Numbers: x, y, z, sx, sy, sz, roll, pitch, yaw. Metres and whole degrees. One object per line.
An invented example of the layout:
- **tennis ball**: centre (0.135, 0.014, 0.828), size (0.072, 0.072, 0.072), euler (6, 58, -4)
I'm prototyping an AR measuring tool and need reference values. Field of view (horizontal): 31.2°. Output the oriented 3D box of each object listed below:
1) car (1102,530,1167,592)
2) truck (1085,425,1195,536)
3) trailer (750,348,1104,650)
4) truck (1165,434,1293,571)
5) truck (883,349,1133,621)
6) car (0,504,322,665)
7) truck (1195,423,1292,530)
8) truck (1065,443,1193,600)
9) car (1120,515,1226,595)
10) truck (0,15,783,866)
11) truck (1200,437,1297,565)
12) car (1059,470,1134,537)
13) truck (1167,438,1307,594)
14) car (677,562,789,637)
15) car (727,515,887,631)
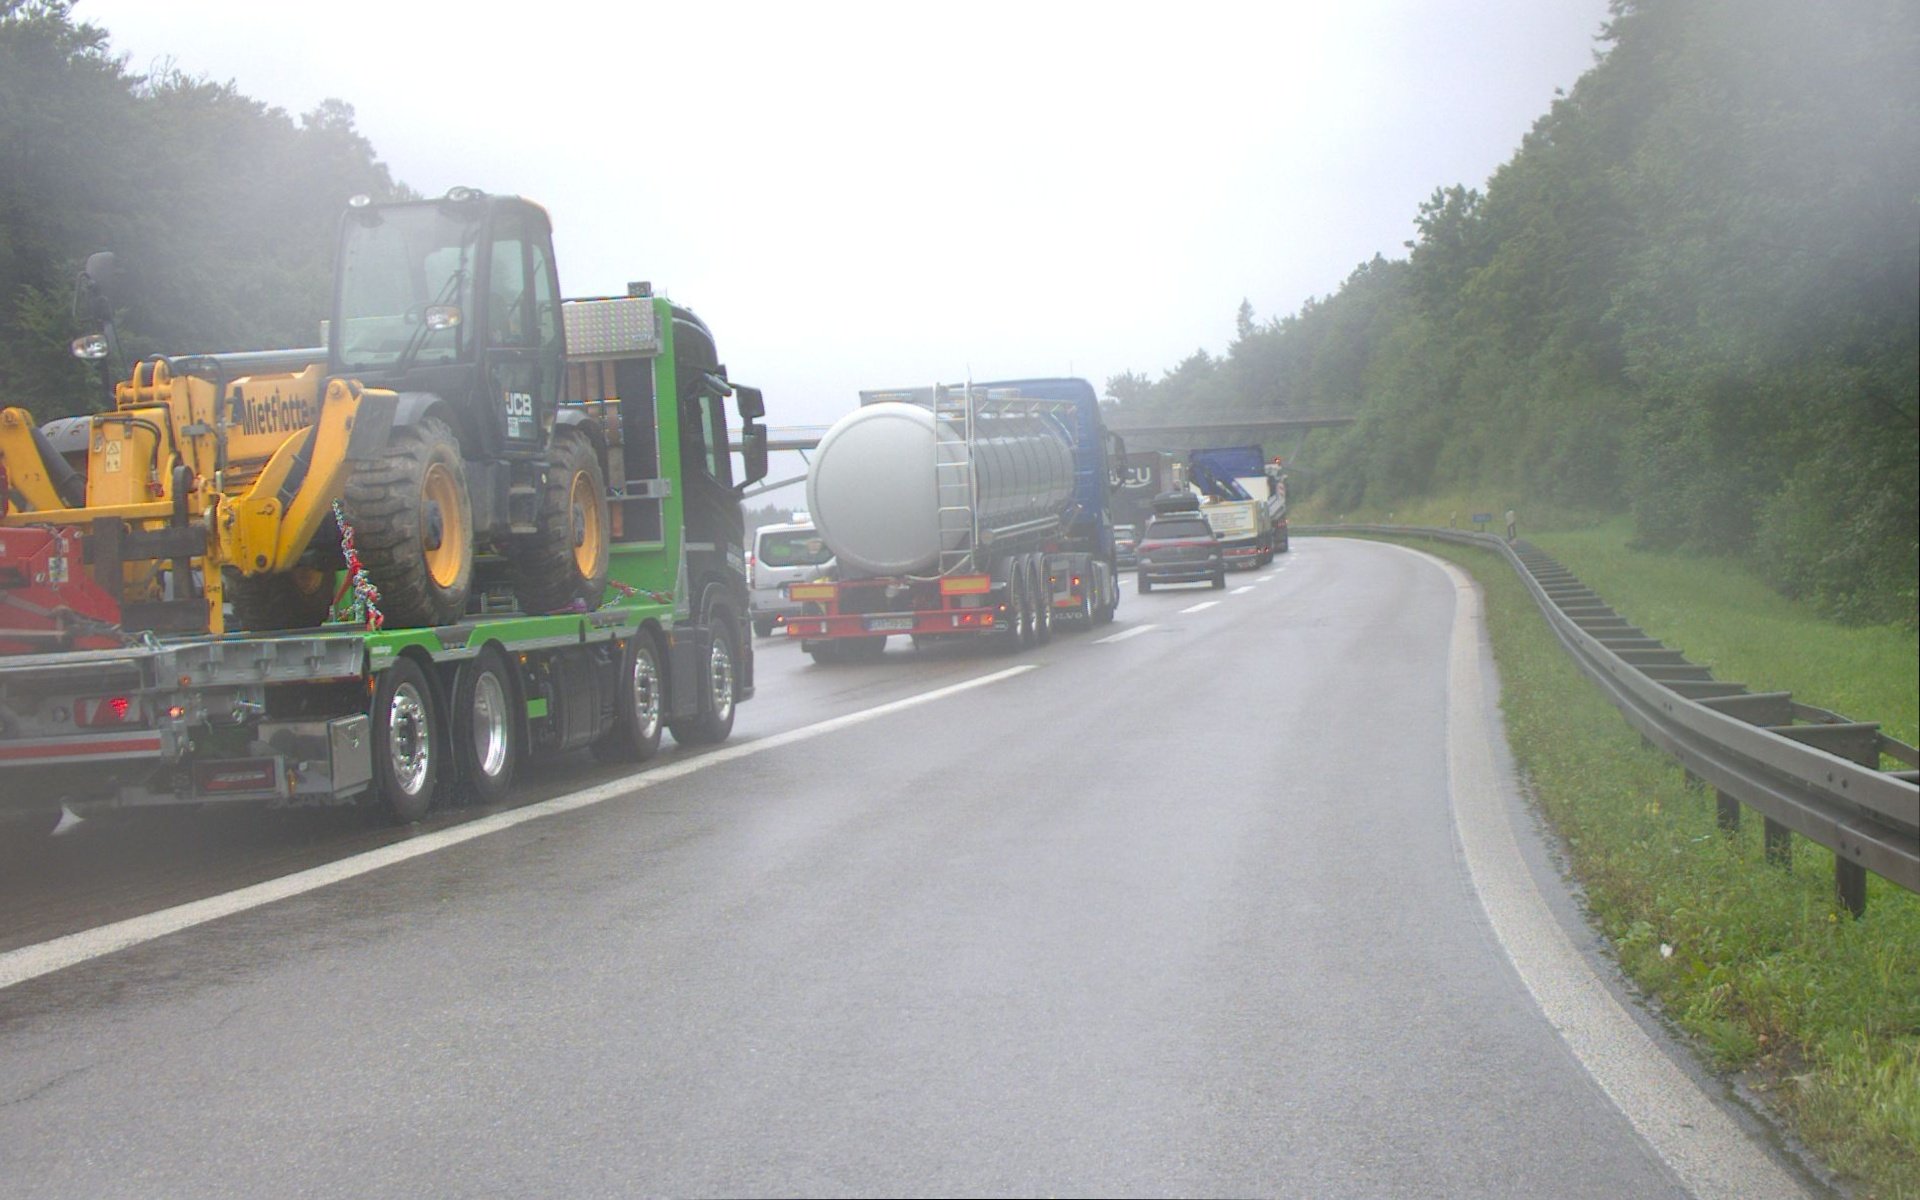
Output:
- **car**: centre (5.561, -1.228, 108.925), size (1.798, 1.897, 3.999), euler (0, 0, 7)
- **truck**: centre (7.586, -4.875, 143.070), size (3.577, 4.081, 10.876), euler (-2, 0, 8)
- **trailer**: centre (-0.172, -1.281, 43.943), size (2.874, 3.277, 10.075), euler (-3, 1, 8)
- **truck**: centre (9.146, -3.167, 115.709), size (3.508, 4.253, 10.599), euler (1, 0, 9)
- **truck**: centre (0.793, -1.675, 50.724), size (2.878, 3.681, 5.055), euler (-3, 1, 9)
- **car**: centre (-8.971, -0.223, 38.420), size (1.994, 1.588, 4.806), euler (-3, 1, 10)
- **truck**: centre (11.678, -4.998, 141.250), size (3.755, 3.957, 11.057), euler (1, 0, 5)
- **truck**: centre (6.313, -2.771, 126.635), size (3.755, 5.480, 10.169), euler (1, 0, 8)
- **car**: centre (4.597, -0.940, 73.625), size (1.994, 1.630, 3.999), euler (1, 0, 7)
- **truck**: centre (-3.831, -0.742, 20.615), size (2.832, 3.576, 11.793), euler (-3, 1, 10)
- **truck**: centre (13.702, -4.603, 162.721), size (4.337, 5.744, 9.728), euler (1, 0, 5)
- **car**: centre (3.987, -2.786, 99.855), size (1.797, 1.831, 3.999), euler (1, 0, 8)
- **truck**: centre (8.145, -2.441, 99.620), size (3.601, 4.091, 11.558), euler (-3, 1, 6)
- **car**: centre (-5.711, -0.027, 87.017), size (1.994, 1.766, 4.134), euler (-2, 1, 7)
- **car**: centre (-2.447, -0.466, 55.935), size (1.820, 1.761, 3.999), euler (-2, 1, 8)
